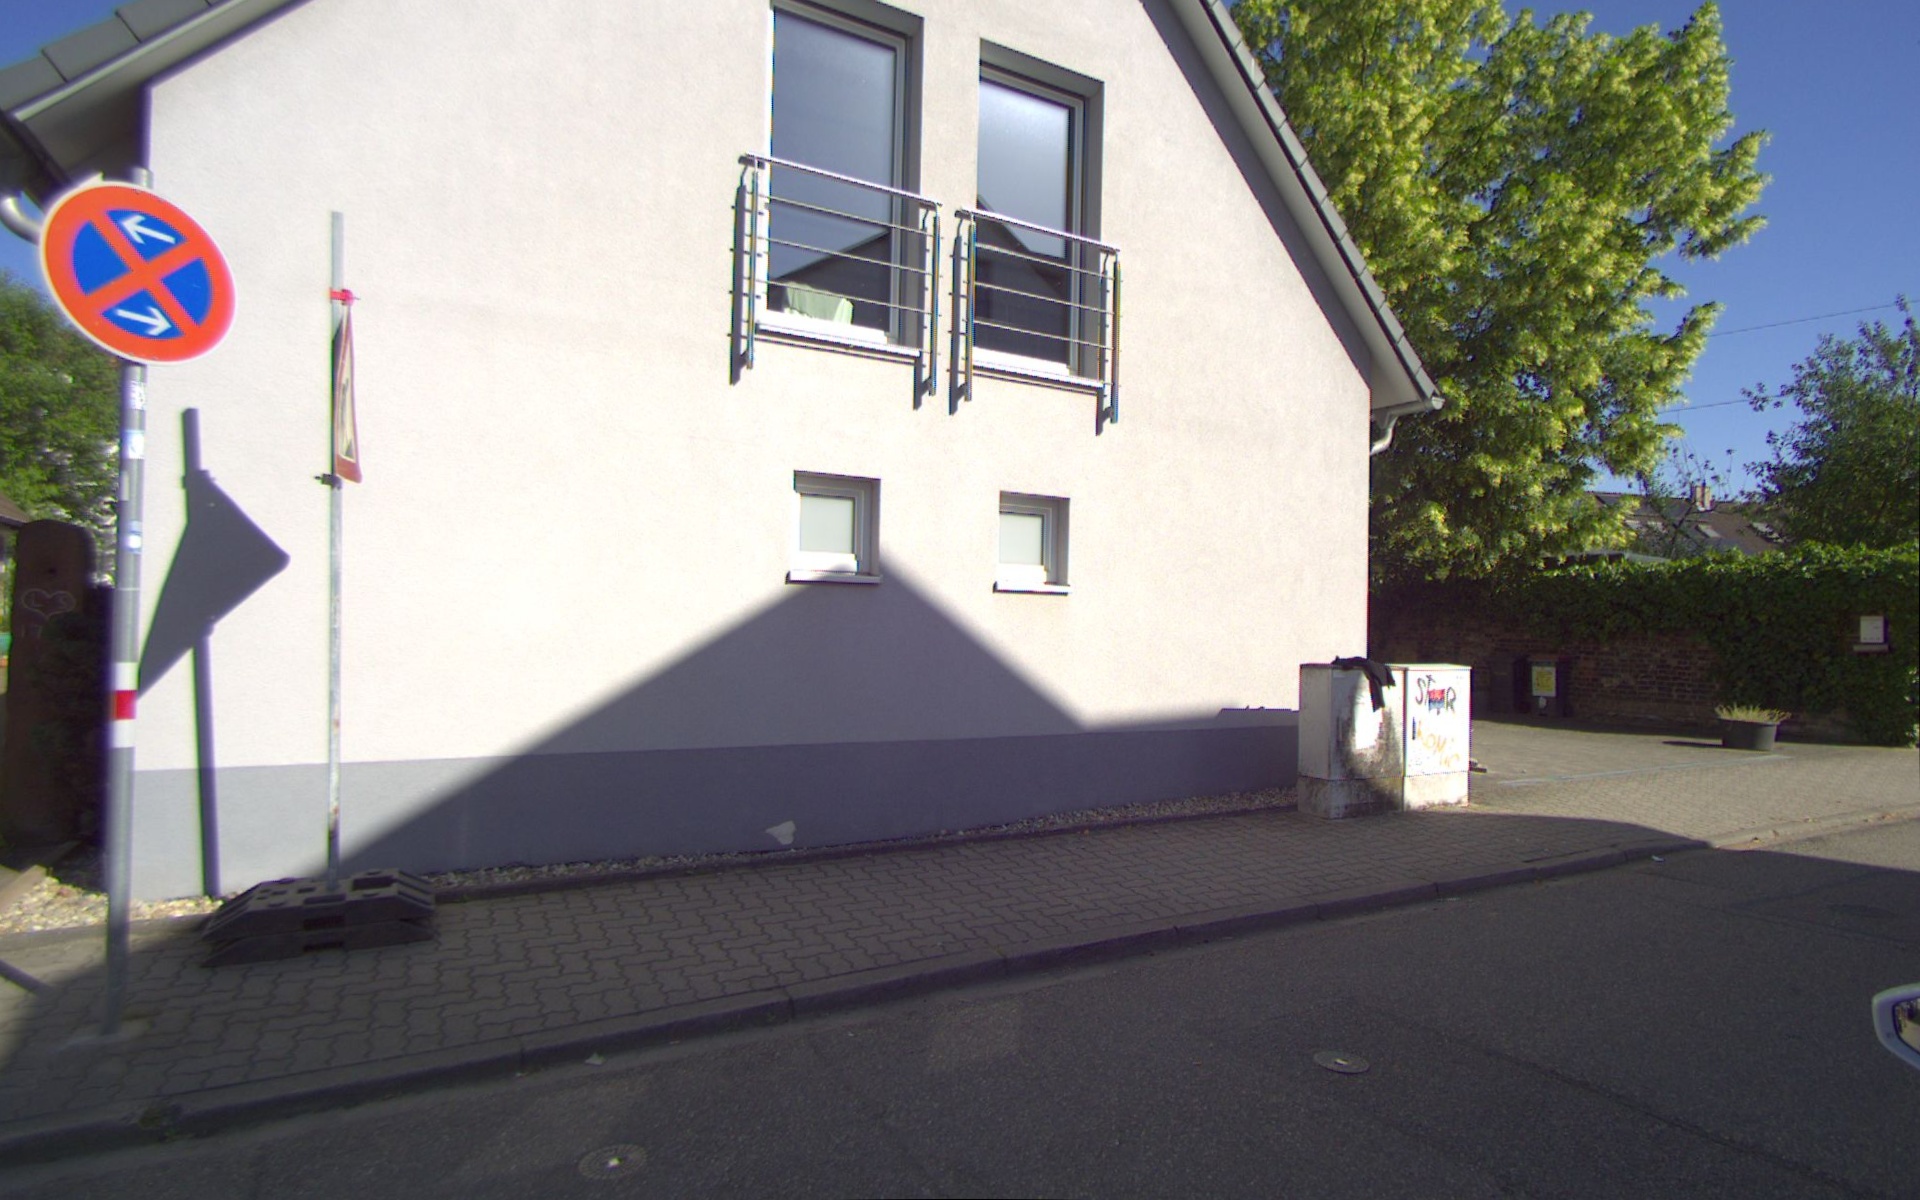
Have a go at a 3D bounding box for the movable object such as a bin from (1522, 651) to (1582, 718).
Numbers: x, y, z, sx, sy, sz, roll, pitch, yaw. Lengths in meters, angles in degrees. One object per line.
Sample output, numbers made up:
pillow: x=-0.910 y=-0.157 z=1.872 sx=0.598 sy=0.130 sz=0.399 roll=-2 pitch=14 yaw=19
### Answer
movable object such as a bin: x=8.900 y=1.264 z=15.109 sx=0.501 sy=0.946 sz=0.589 roll=3 pitch=-1 yaw=-24

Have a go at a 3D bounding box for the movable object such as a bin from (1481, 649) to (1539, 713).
movable object such as a bin: x=8.559 y=1.261 z=15.643 sx=0.501 sy=0.946 sz=0.589 roll=3 pitch=-1 yaw=-24
